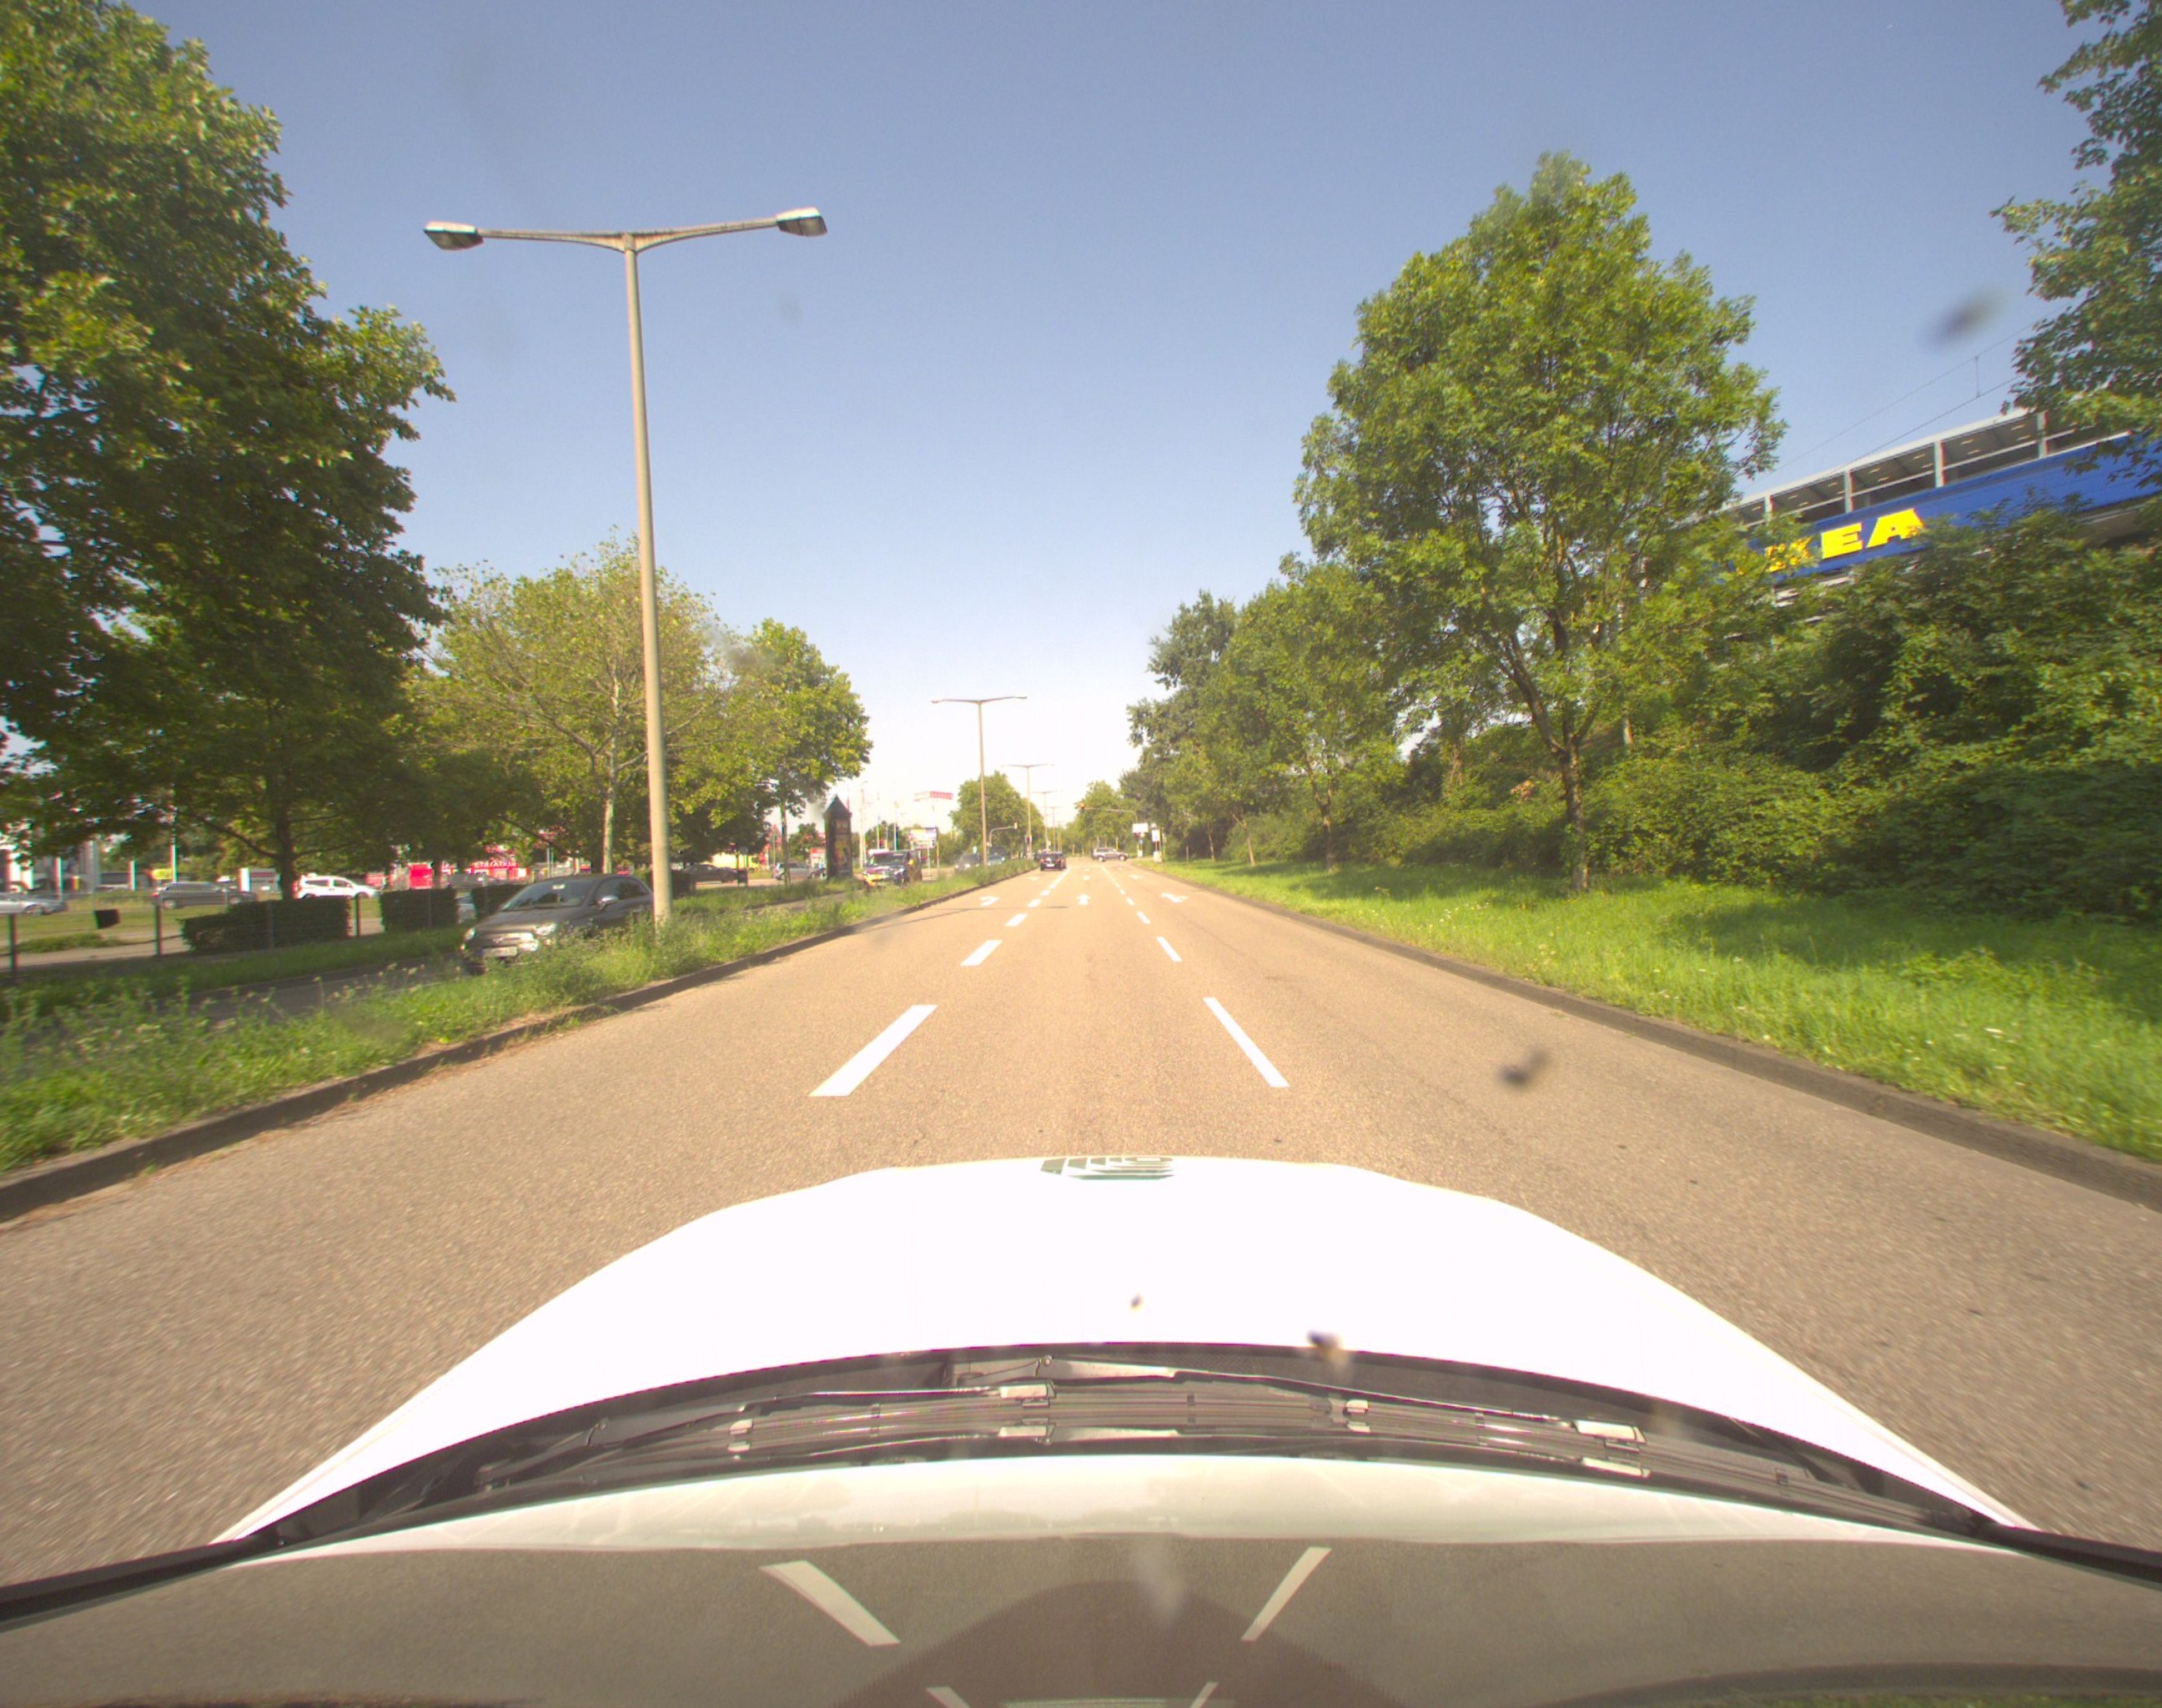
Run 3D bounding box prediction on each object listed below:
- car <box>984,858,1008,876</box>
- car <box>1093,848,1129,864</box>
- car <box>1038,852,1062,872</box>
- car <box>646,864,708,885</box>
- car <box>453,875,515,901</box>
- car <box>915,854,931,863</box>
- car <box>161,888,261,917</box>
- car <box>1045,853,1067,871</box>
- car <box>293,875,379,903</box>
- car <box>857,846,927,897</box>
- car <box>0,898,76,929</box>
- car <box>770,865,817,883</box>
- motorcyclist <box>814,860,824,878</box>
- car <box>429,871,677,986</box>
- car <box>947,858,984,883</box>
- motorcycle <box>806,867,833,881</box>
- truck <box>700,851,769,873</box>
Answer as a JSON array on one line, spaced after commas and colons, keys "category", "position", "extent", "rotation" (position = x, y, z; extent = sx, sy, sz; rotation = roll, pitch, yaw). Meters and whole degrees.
[{"category": "car", "position": [-7.977, 1.185, 76.907], "extent": [1.767, 1.574, 4.000], "rotation": [-2, 0, 1]}, {"category": "car", "position": [3.849, 0.244, 104.750], "extent": [4.236, 1.836, 1.920], "rotation": [-3, 0, 13]}, {"category": "car", "position": [-2.469, 0.661, 66.234], "extent": [1.686, 1.486, 4.000], "rotation": [-3, 0, 0]}, {"category": "car", "position": [-33.234, 1.652, 67.107], "extent": [4.332, 1.579, 1.554], "rotation": [-1, 0, -38]}, {"category": "car", "position": [-43.282, 2.443, 59.107], "extent": [3.508, 1.580, 1.707], "rotation": [-3, 0, -36]}, {"category": "car", "position": [-35.901, 0.938, 185.446], "extent": [1.980, 2.013, 4.306], "rotation": [-2, 0, 13]}, {"category": "car", "position": [-55.148, 3.041, 51.735], "extent": [4.017, 1.545, 1.820], "rotation": [-3, 0, -35]}, {"category": "car", "position": [-2.215, 0.658, 72.274], "extent": [1.686, 1.486, 4.000], "rotation": [-3, 0, 0]}, {"category": "car", "position": [-49.837, 2.336, 54.593], "extent": [4.018, 1.679, 1.849], "rotation": [-1, 0, -37]}, {"category": "car", "position": [-8.198, 0.714, 35.727], "extent": [1.926, 2.027, 4.565], "rotation": [-3, 0, 0]}, {"category": "car", "position": [-61.916, 3.503, 47.007], "extent": [4.613, 1.545, 1.848], "rotation": [-3, 0, -39]}, {"category": "car", "position": [-25.868, 1.813, 73.343], "extent": [3.719, 1.443, 1.451], "rotation": [-1, 0, -36]}, {"category": "motorcyclist", "position": [-23.137, 1.340, 71.904], "extent": [0.687, 1.572, 0.676], "rotation": [-1, -1, -36]}, {"category": "car", "position": [-8.177, 1.068, 13.032], "extent": [1.671, 1.486, 3.491], "rotation": [-2, 0, 0]}, {"category": "car", "position": [-8.249, 1.139, 58.494], "extent": [1.988, 1.706, 4.502], "rotation": [-2, 0, -1]}, {"category": "motorcycle", "position": [-23.088, 1.795, 71.921], "extent": [2.085, 1.136, 0.670], "rotation": [-2, -1, -35]}, {"category": "truck", "position": [-52.796, 1.207, 124.053], "extent": [9.054, 2.957, 3.476], "rotation": [-3, 0, -36]}]
